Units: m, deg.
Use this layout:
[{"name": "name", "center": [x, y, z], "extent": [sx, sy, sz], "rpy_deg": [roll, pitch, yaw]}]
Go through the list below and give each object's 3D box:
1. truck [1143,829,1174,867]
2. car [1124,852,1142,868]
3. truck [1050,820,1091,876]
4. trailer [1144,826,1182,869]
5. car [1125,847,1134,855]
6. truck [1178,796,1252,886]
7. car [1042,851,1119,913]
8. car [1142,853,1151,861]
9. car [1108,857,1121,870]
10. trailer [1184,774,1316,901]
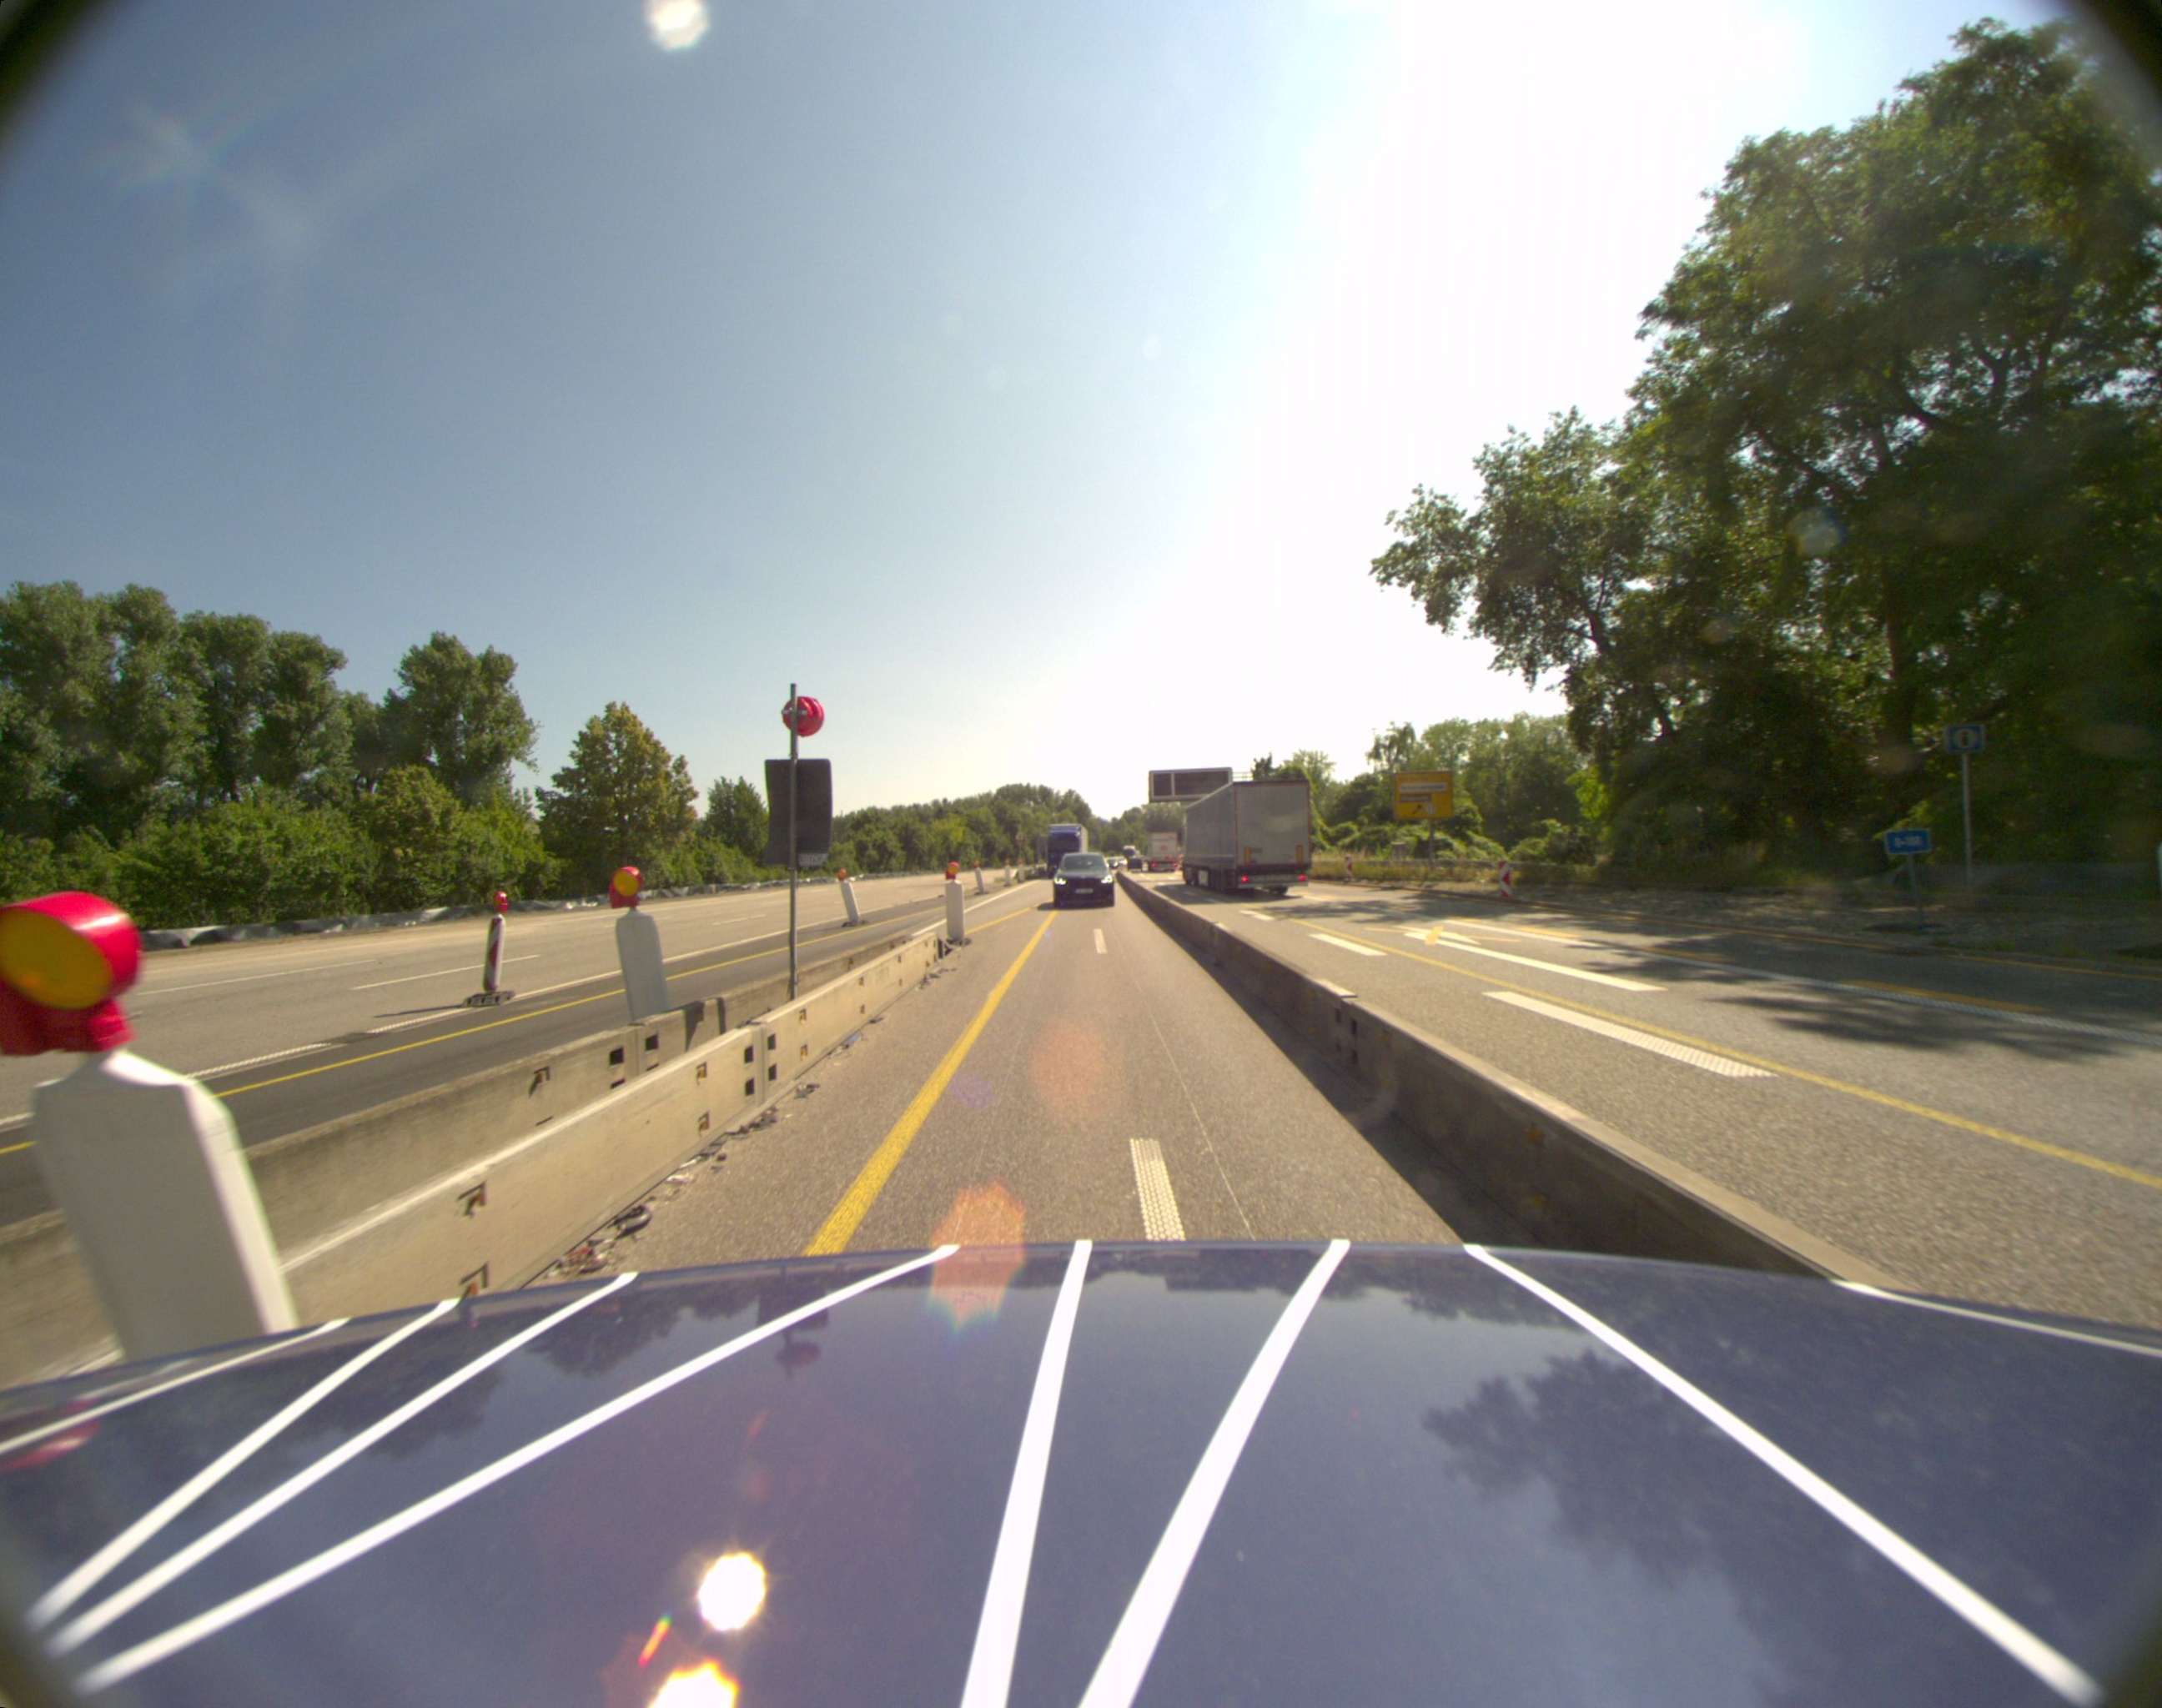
[{"name": "truck", "center": [8.797, -0.660, 87.013], "extent": [3.052, 4.081, 7.643], "rpy_deg": [-2, 1, 3]}, {"name": "car", "center": [5.854, 0.660, 86.273], "extent": [1.747, 1.621, 4.372], "rpy_deg": [-2, 0, 1]}, {"name": "truck", "center": [-0.767, -0.455, 59.676], "extent": [2.861, 3.962, 8.665], "rpy_deg": [-2, 1, 0]}, {"name": "trailer", "center": [8.490, -0.712, 79.780], "extent": [3.052, 4.081, 12.341], "rpy_deg": [-2, 0, 3]}, {"name": "car", "center": [10.595, -0.653, 166.777], "extent": [1.747, 1.621, 4.093], "rpy_deg": [-2, 0, 3]}, {"name": "truck", "center": [6.628, -0.629, 38.602], "extent": [2.627, 4.103, 6.506], "rpy_deg": [-2, 1, 1]}, {"name": "car", "center": [0.105, 0.817, 24.549], "extent": [1.788, 1.651, 4.489], "rpy_deg": [-5, 0, 8]}, {"name": "car", "center": [16.827, 0.836, 195.215], "extent": [1.998, 2.002, 4.001], "rpy_deg": [-2, 1, 5]}, {"name": "car", "center": [4.676, 1.276, 106.081], "extent": [1.747, 1.621, 4.092], "rpy_deg": [-2, 0, 1]}, {"name": "trailer", "center": [6.555, -0.600, 32.179], "extent": [2.627, 4.103, 14.067], "rpy_deg": [-2, 0, 1]}]
